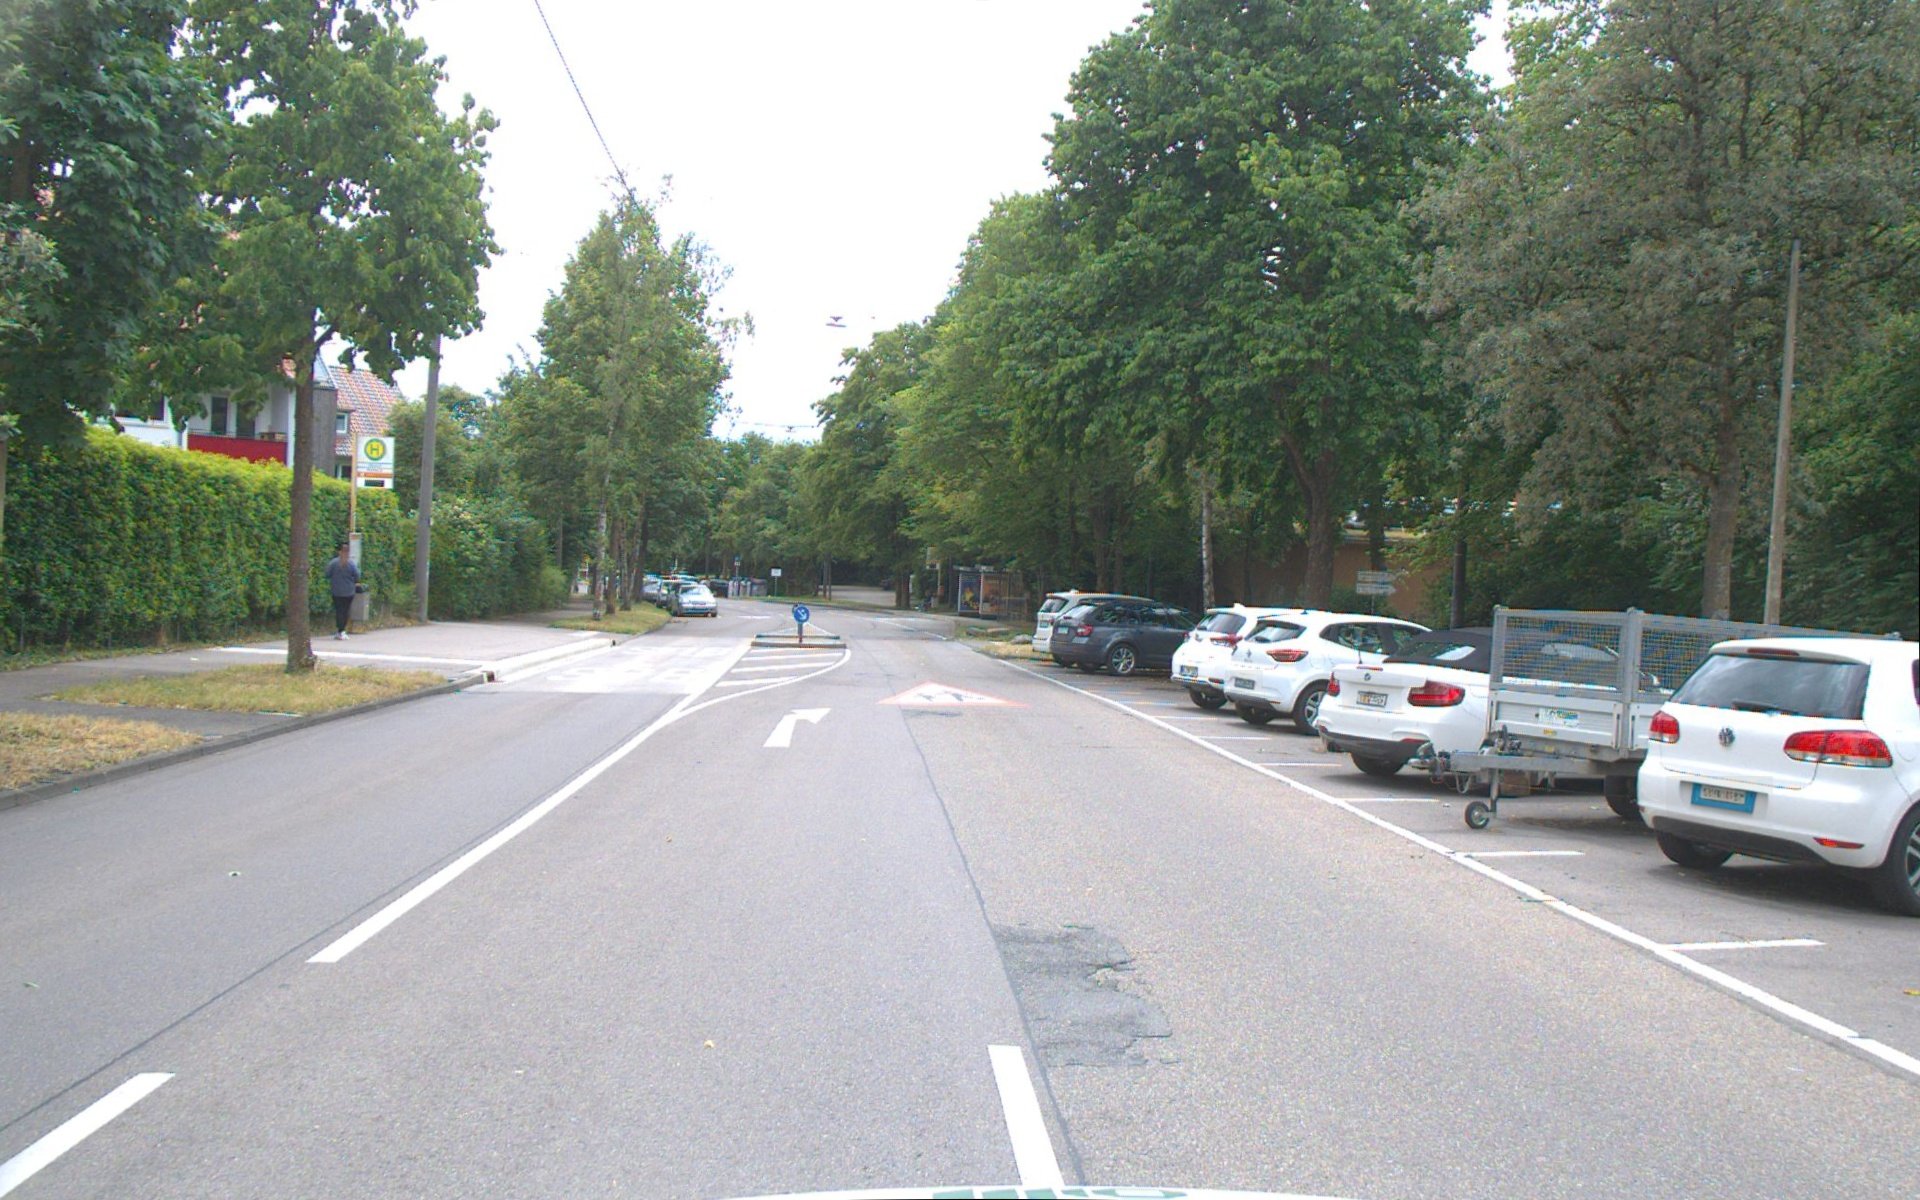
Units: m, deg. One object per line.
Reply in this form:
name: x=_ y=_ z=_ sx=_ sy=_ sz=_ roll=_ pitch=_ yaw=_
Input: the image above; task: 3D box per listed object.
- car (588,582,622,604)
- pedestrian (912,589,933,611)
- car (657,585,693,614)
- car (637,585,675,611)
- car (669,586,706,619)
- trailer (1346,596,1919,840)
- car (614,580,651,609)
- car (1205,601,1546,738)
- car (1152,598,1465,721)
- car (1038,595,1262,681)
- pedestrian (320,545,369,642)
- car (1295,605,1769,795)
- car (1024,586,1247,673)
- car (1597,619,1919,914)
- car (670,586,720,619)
car: x=-27.627 y=-0.581 z=128.612 sx=1.780 sy=1.590 sz=4.237 roll=-2 pitch=1 yaw=-23
pedestrian: x=-2.050 y=-0.007 z=90.732 sx=1.046 sy=1.203 sz=0.577 roll=1 pitch=0 yaw=-17
car: x=-15.998 y=-0.037 z=92.826 sx=1.706 sy=1.606 sz=4.126 roll=0 pitch=0 yaw=-14
car: x=-19.055 y=-0.129 z=103.577 sx=1.836 sy=1.565 sz=4.208 roll=1 pitch=0 yaw=-17
car: x=-13.364 y=0.088 z=81.081 sx=1.704 sy=1.565 sz=4.178 roll=0 pitch=0 yaw=-11
trailer: x=5.022 y=0.839 z=12.286 sx=3.928 sy=1.579 sz=1.649 roll=2 pitch=0 yaw=-20
car: x=-22.435 y=-0.412 z=113.163 sx=1.830 sy=1.942 sz=5.056 roll=1 pitch=0 yaw=-19
car: x=5.248 y=0.881 z=20.864 sx=3.939 sy=1.489 sz=1.781 roll=3 pitch=0 yaw=-27
car: x=4.933 y=0.833 z=23.489 sx=3.927 sy=1.489 sz=1.856 roll=3 pitch=0 yaw=-20
car: x=3.814 y=0.758 z=33.339 sx=4.066 sy=1.489 sz=1.791 roll=3 pitch=0 yaw=-16
pedestrian: x=-11.416 y=-0.120 z=30.688 sx=0.679 sy=1.740 sz=0.776 roll=2 pitch=0 yaw=-11
car: x=5.227 y=0.913 z=15.086 sx=3.939 sy=1.489 sz=1.835 roll=3 pitch=0 yaw=-27
car: x=3.807 y=0.635 z=36.100 sx=4.393 sy=1.613 sz=1.900 roll=3 pitch=0 yaw=-14
car: x=6.120 y=0.981 z=10.232 sx=3.934 sy=1.489 sz=1.778 roll=3 pitch=0 yaw=-24
car: x=-12.084 y=0.077 z=75.205 sx=1.708 sy=1.441 sz=4.451 roll=0 pitch=1 yaw=-17
